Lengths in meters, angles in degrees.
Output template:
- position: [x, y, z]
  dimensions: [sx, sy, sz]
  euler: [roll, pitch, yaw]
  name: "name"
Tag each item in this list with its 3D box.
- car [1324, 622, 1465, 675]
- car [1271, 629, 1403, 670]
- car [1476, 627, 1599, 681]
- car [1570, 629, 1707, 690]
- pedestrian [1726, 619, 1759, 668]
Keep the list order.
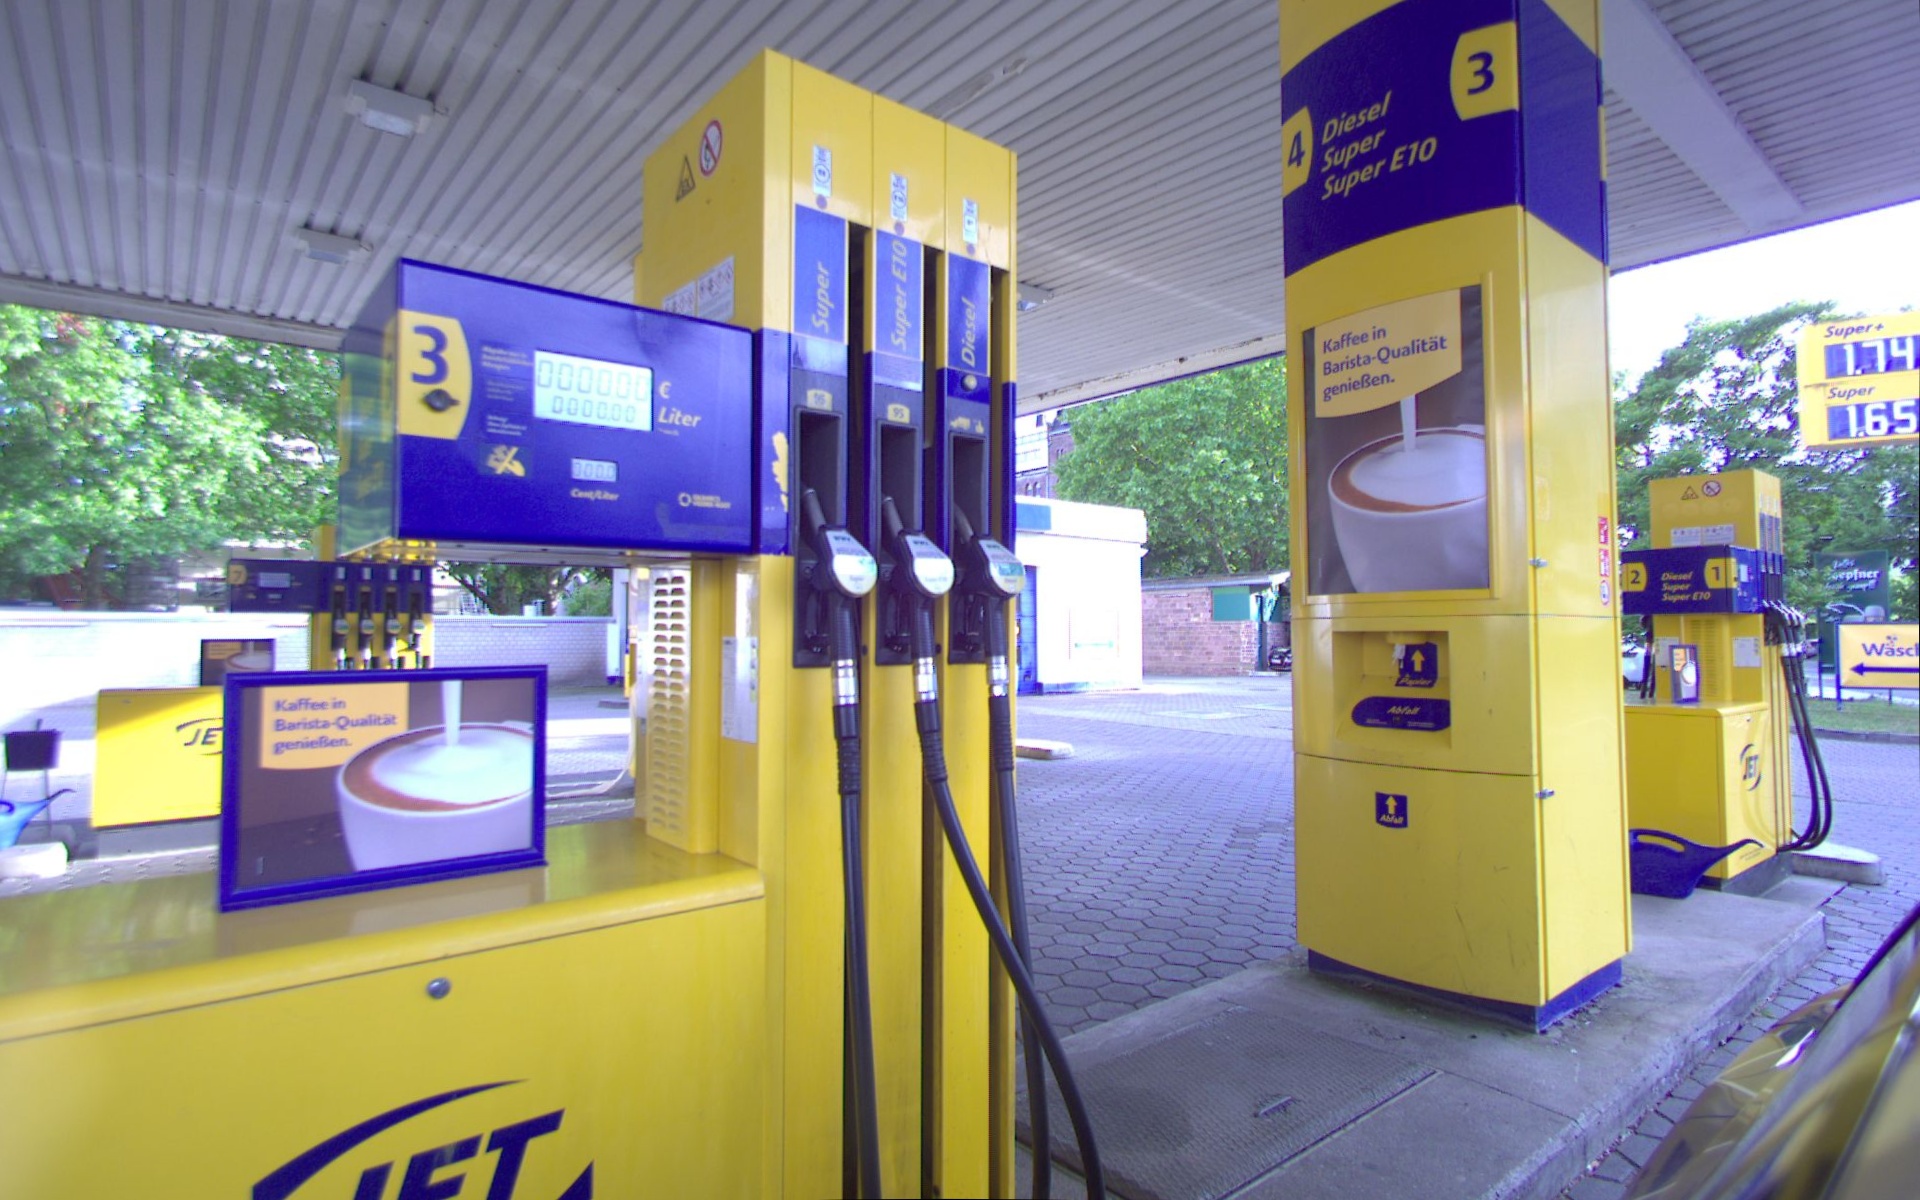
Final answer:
- position: [13.801, 1.550, 32.150]
  dimensions: [4.134, 1.544, 1.791]
  euler: [2, -3, -24]
  name: "car"
- position: [12.842, 1.702, 34.499]
  dimensions: [4.134, 1.294, 1.751]
  euler: [2, -3, -22]
  name: "car"
- position: [17.568, 1.642, 30.751]
  dimensions: [3.923, 1.529, 1.740]
  euler: [3, -3, -35]
  name: "car"
- position: [18.234, 1.563, 27.164]
  dimensions: [3.923, 1.529, 1.740]
  euler: [2, -3, -35]
  name: "car"
- position: [33.367, 1.823, 43.172]
  dimensions: [0.925, 2.040, 1.204]
  euler: [0, -2, 29]
  name: "pedestrian"
